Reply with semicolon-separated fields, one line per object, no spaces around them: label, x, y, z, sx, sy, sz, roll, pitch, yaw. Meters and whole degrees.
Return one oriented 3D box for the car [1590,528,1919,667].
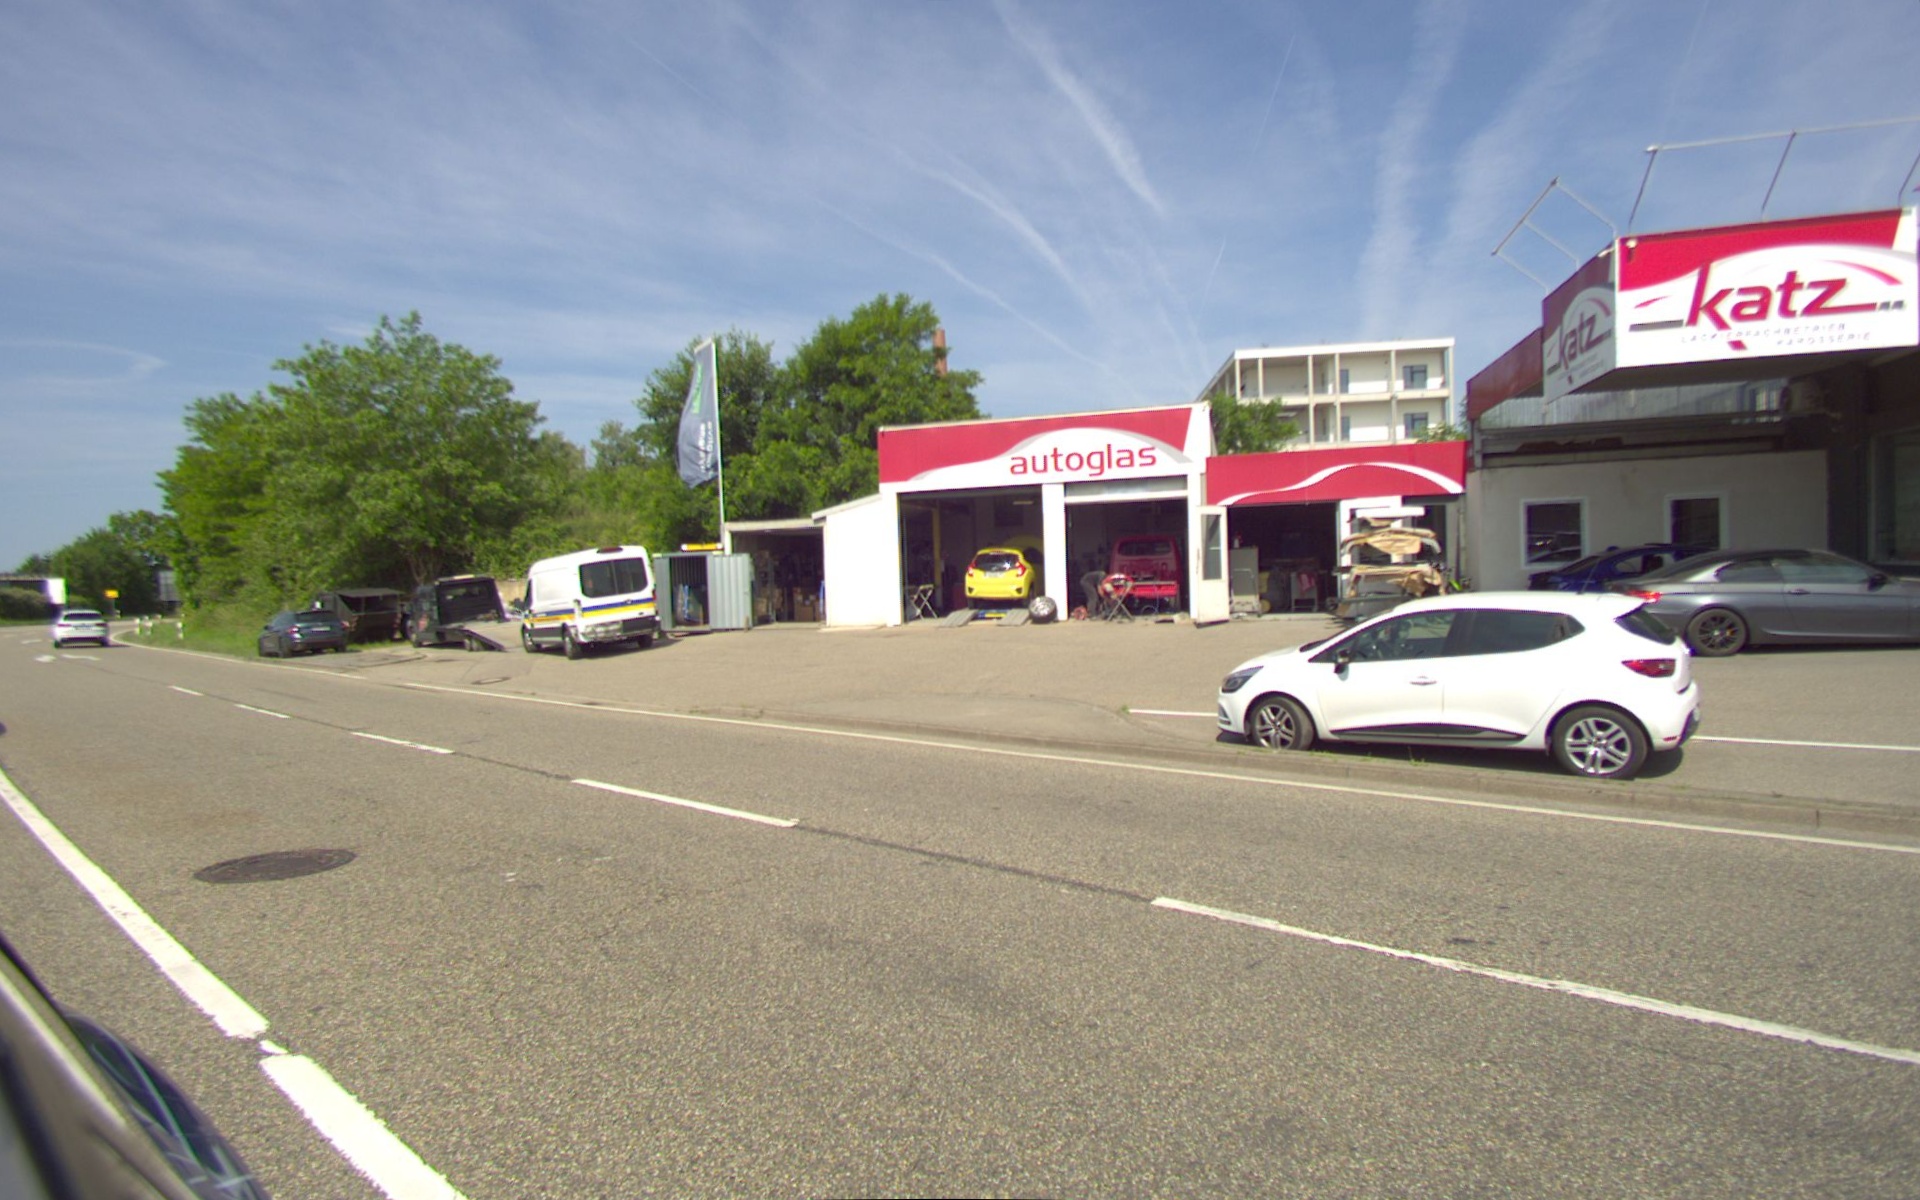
car;11.288;-0.062;13.600;4.357;1.515;1.850;-4;2;16

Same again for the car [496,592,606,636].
car;-15.014;0.489;37.356;1.727;1.480;3.645;-2;1;21

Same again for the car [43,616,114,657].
car;-38.038;1.555;43.646;4.000;1.687;1.914;-1;-1;43

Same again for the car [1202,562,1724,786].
car;4.488;0.549;9.340;3.997;1.630;1.761;-1;1;40

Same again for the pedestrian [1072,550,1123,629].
pedestrian;3.191;-0.245;23.532;0.894;1.775;0.715;-1;1;42

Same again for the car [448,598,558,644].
car;-16.953;0.752;37.694;1.703;1.522;3.649;-2;1;19

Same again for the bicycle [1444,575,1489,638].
bicycle;9.503;0.094;19.017;0.411;0.978;1.989;-1;5;17

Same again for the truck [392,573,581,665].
truck;-15.003;0.564;31.624;8.807;2.313;2.305;-1;5;45

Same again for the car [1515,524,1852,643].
car;11.509;-0.285;16.419;3.963;1.515;1.851;-4;3;15

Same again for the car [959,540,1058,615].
car;1.349;-0.647;26.577;1.724;1.737;3.653;-2;3;16

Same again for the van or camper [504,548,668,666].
van or camper;-9.656;0.156;25.783;2.127;2.517;5.963;-6;3;-37

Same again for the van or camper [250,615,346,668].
van or camper;-21.556;1.295;32.894;4.468;1.535;1.622;-1;2;44

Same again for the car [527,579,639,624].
car;-13.408;0.030;36.186;1.727;1.480;3.645;-2;1;21
